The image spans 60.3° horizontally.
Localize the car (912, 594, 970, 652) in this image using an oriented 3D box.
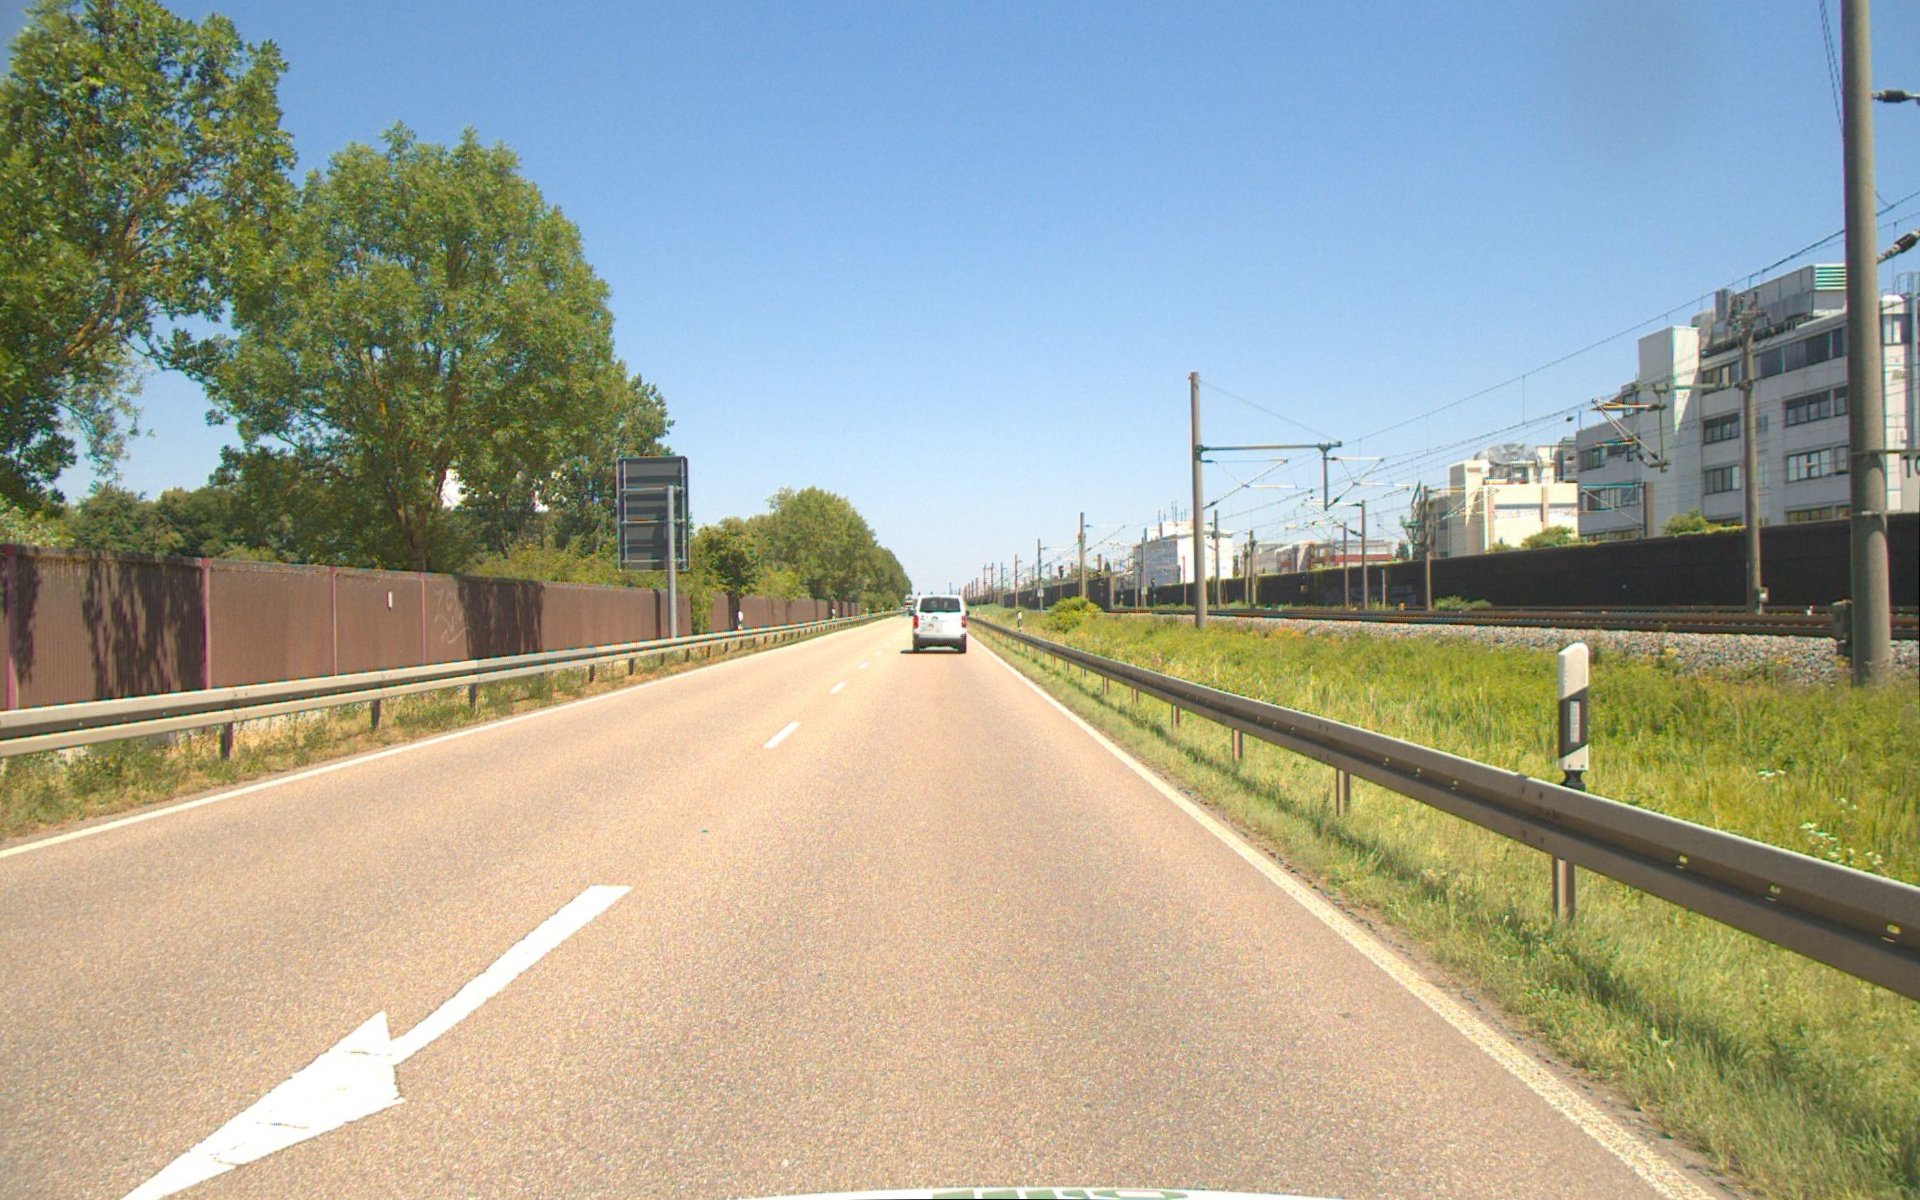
[{"bbox_3d":[-0.654,0.774,56.971,1.906,1.914,4.879,0,-1,-1],"label":"car"}]
